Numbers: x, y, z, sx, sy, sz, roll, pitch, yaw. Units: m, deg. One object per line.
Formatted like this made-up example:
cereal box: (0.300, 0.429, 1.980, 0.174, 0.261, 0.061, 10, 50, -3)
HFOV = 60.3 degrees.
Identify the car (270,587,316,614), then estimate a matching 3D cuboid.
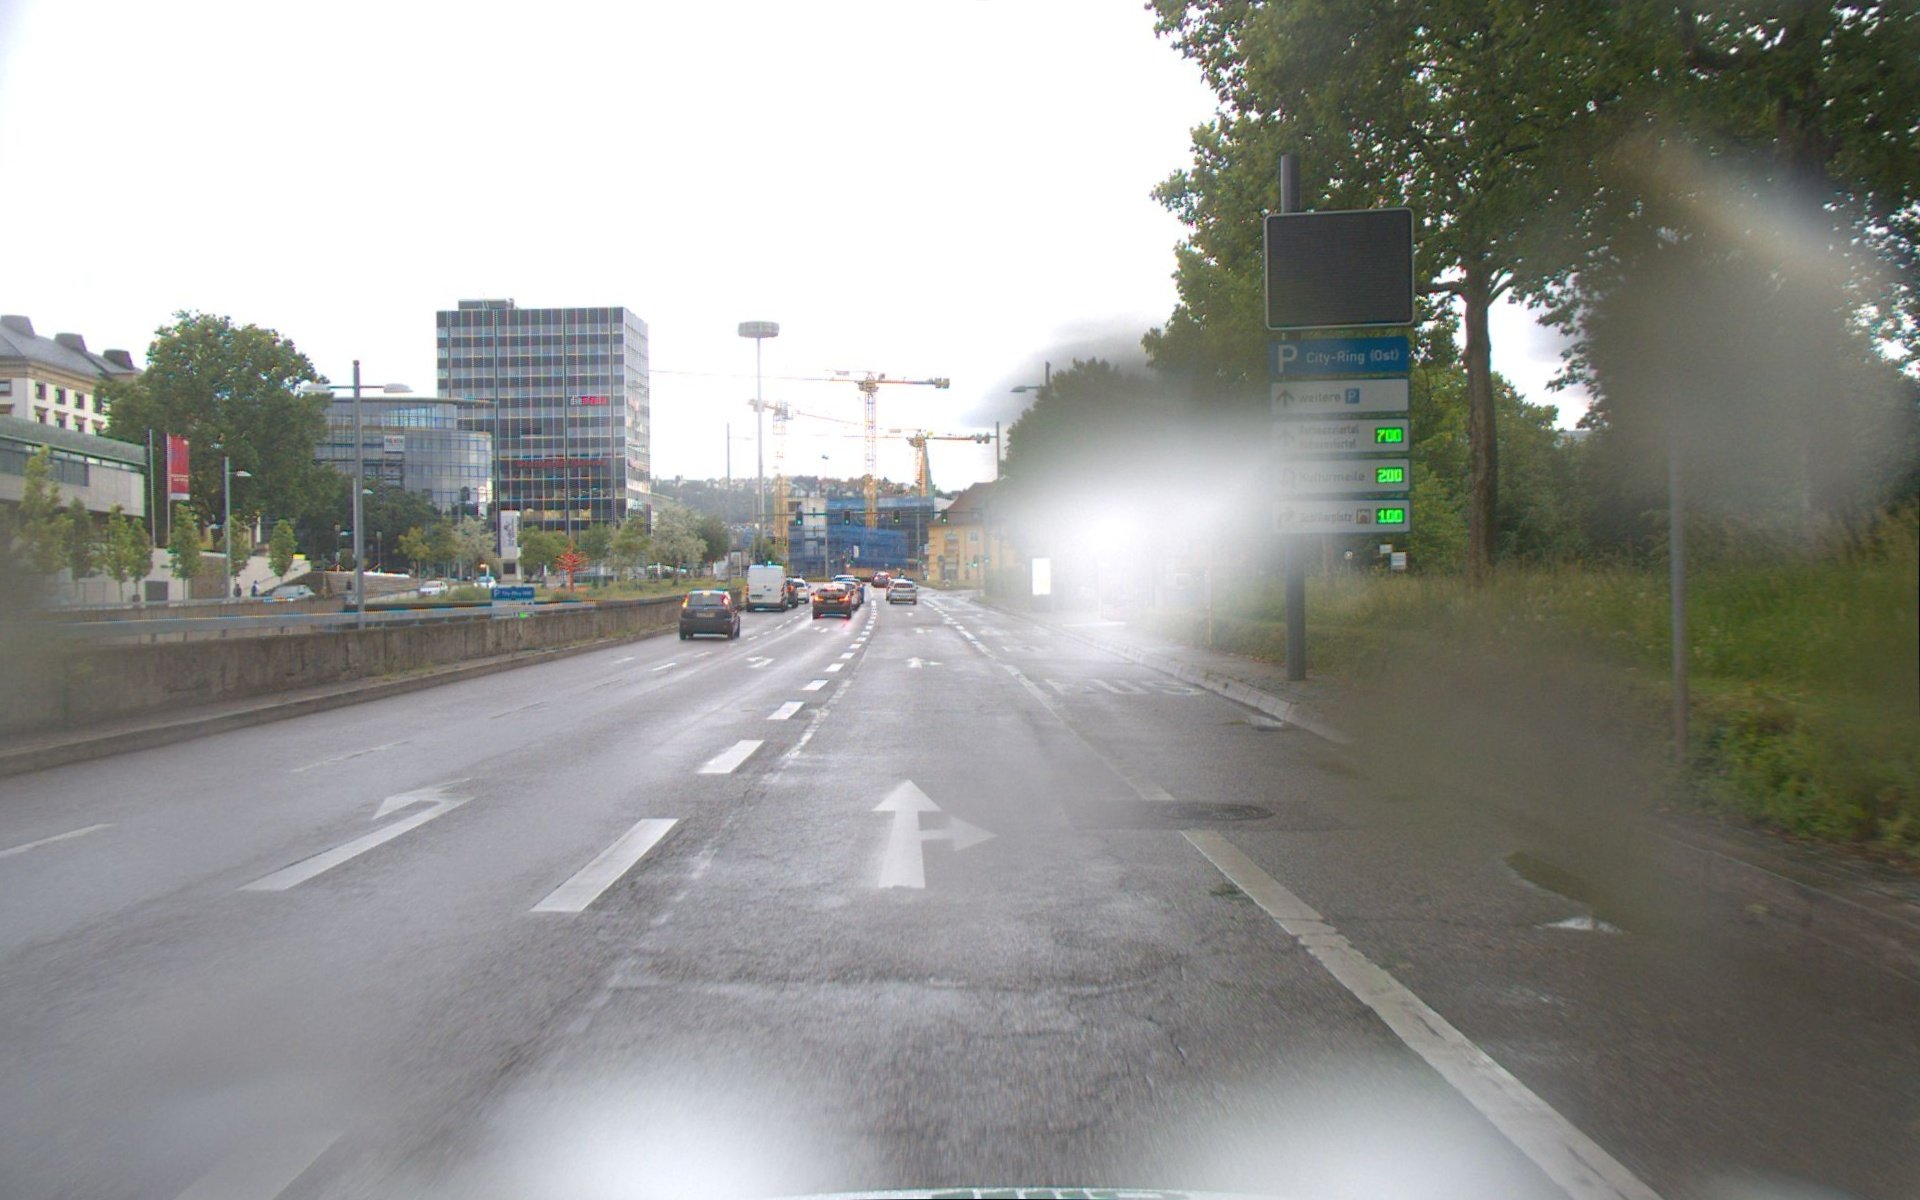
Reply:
car: (-37.252, 0.053, 92.393, 1.435, 1.465, 2.961, 0, -1, -3)

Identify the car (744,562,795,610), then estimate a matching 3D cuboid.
car: (-9.808, -0.674, 85.486, 2.246, 2.354, 5.003, 0, -1, -2)

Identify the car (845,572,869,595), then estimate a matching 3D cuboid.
car: (-6.595, -1.026, 105.899, 1.463, 1.393, 3.031, 0, -1, -3)

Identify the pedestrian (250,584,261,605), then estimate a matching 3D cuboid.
pedestrian: (-48.078, -0.390, 112.897, 0.482, 1.448, 0.632, 0, -1, -2)

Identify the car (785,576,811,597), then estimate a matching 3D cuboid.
car: (-10.111, -0.833, 103.482, 1.520, 1.282, 2.579, 0, -1, -3)

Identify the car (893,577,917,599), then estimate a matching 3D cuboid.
car: (-3.453, -0.755, 104.427, 1.415, 1.383, 2.412, 0, -1, 0)

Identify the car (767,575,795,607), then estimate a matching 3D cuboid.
car: (-9.975, -0.509, 92.404, 1.435, 1.736, 3.138, 0, -1, -5)

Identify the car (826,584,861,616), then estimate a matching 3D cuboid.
car: (-6.400, 0.011, 90.856, 1.844, 1.681, 3.454, 0, -1, -6)

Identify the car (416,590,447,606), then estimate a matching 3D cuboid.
car: (-42.237, -0.165, 132.223, 1.379, 1.277, 3.166, 0, -1, 0)

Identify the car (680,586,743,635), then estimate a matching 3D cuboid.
car: (-7.556, 0.317, 50.571, 1.511, 1.440, 3.899, 0, 0, -3)

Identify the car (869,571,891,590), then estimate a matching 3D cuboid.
car: (-8.241, -1.979, 171.130, 2.117, 1.912, 3.770, 0, -1, 0)

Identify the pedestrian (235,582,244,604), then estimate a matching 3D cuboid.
pedestrian: (-45.688, -0.430, 104.917, 0.462, 1.407, 0.571, 1, -1, -29)

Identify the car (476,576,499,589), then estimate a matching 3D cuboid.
car: (-43.699, -1.596, 152.979, 1.411, 1.134, 3.019, 0, -1, -3)

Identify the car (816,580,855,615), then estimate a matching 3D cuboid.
car: (-5.730, -0.141, 76.215, 1.719, 1.497, 4.219, 0, 1, -4)

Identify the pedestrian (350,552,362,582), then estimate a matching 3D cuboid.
pedestrian: (-44.680, -2.430, 122.426, 0.711, 2.127, 0.767, -1, 5, -15)
